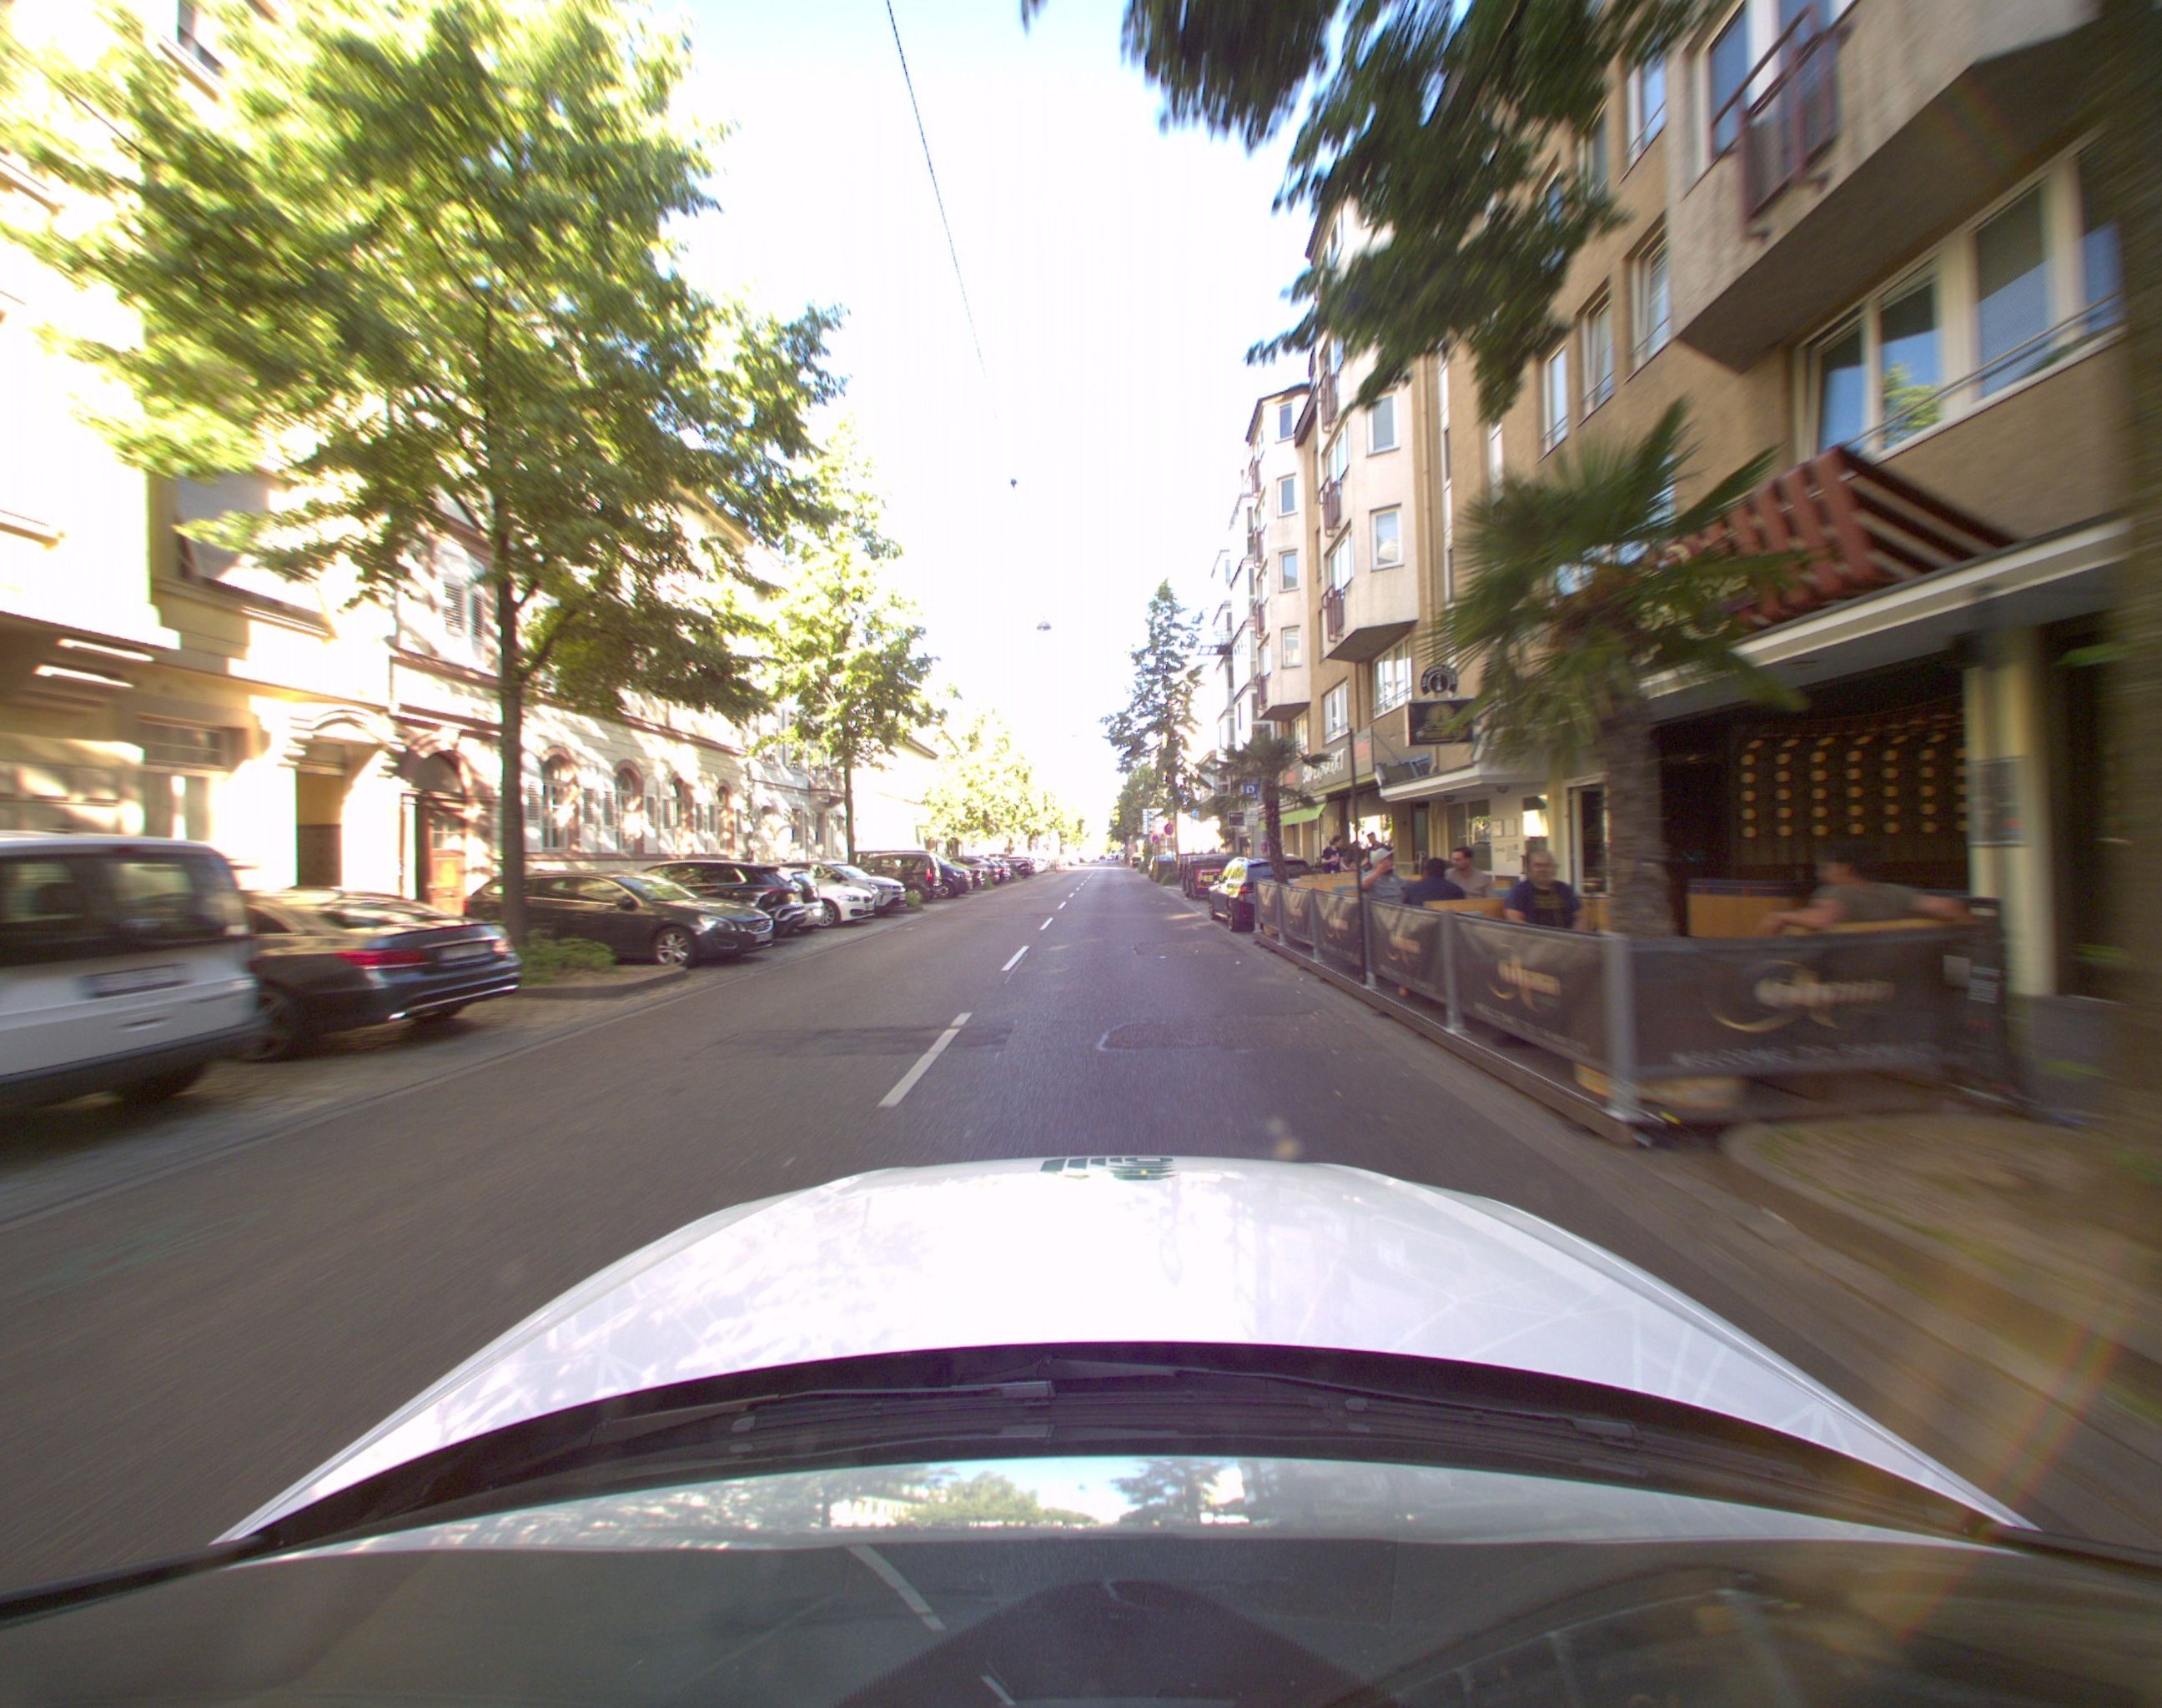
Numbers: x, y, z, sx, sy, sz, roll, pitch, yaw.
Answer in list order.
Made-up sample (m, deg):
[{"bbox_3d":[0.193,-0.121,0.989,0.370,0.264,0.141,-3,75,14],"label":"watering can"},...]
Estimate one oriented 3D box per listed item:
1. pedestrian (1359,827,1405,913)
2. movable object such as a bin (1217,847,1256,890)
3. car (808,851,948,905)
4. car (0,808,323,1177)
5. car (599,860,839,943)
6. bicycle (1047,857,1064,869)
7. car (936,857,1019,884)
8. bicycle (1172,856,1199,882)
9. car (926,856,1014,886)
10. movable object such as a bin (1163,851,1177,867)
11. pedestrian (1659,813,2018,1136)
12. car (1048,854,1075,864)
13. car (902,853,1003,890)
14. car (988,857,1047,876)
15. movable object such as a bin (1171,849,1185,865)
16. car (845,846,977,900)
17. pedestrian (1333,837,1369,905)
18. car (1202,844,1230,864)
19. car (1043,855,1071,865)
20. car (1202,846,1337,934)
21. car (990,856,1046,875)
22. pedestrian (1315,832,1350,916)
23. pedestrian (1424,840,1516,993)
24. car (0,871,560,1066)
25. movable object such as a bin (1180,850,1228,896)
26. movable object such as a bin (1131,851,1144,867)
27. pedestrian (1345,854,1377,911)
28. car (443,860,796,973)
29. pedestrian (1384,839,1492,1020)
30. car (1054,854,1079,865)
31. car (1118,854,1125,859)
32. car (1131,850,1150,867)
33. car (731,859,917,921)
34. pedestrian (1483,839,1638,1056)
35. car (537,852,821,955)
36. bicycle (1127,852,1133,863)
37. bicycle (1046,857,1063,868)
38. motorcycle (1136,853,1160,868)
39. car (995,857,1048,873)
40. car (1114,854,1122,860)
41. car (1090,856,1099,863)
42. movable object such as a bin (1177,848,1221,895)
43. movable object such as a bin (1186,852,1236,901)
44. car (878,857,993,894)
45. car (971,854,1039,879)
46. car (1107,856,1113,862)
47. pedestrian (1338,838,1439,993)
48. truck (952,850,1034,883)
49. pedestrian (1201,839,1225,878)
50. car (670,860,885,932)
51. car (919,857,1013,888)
[{"bbox_3d":[6.080,0.321,16.463,0.506,1.695,0.623,-2,-1,-35],"label":"pedestrian"},{"bbox_3d":[5.380,0.489,28.284,1.073,1.431,1.296,-2,0,2],"label":"movable object such as a bin"},{"bbox_3d":[-7.207,0.832,29.208,4.447,1.772,1.918,-1,0,3],"label":"car"},{"bbox_3d":[-7.601,0.745,4.767,4.331,1.834,1.914,-1,0,-4],"label":"car"},{"bbox_3d":[-7.721,0.981,17.641,4.323,1.582,1.809,-1,0,1],"label":"car"},{"bbox_3d":[-2.871,1.034,92.810,1.852,1.252,0.599,-1,0,-6],"label":"bicycle"},{"bbox_3d":[-6.197,0.963,49.004,4.661,1.463,1.809,-1,0,3],"label":"car"},{"bbox_3d":[4.920,0.713,38.504,0.607,1.120,2.051,-9,1,-7],"label":"bicycle"},{"bbox_3d":[-6.268,0.957,46.475,4.661,1.572,1.809,-1,0,3],"label":"car"},{"bbox_3d":[9.163,0.534,83.866,1.201,1.627,1.498,-3,0,0],"label":"movable object such as a bin"},{"bbox_3d":[3.979,0.594,4.398,1.051,1.536,0.893,-2,0,6],"label":"pedestrian"},{"bbox_3d":[-2.931,0.787,124.773,3.973,1.390,2.000,-2,0,0],"label":"car"},{"bbox_3d":[-6.408,0.878,40.855,4.661,1.712,1.809,-1,0,3],"label":"car"},{"bbox_3d":[-5.221,1.021,67.249,4.667,1.465,1.807,-1,0,-2],"label":"car"},{"bbox_3d":[9.810,0.332,82.484,1.266,1.530,1.176,-3,0,0],"label":"movable object such as a bin"},{"bbox_3d":[-6.636,0.748,32.128,4.661,1.950,1.918,-1,0,3],"label":"car"},{"bbox_3d":[6.744,0.422,20.368,0.614,1.642,0.762,-2,0,2],"label":"pedestrian"},{"bbox_3d":[11.809,-0.007,71.568,1.893,1.648,4.297,-3,0,3],"label":"car"},{"bbox_3d":[-3.459,0.866,118.993,3.973,1.390,2.000,-2,0,0],"label":"car"},{"bbox_3d":[3.830,0.656,17.421,1.815,1.472,4.914,-4,0,2],"label":"car"},{"bbox_3d":[-5.351,0.973,70.004,4.667,1.465,1.807,-1,0,-2],"label":"car"},{"bbox_3d":[5.268,0.415,17.081,0.612,1.695,0.765,-3,0,17],"label":"pedestrian"},{"bbox_3d":[4.096,0.641,8.630,0.706,1.536,0.773,-3,0,16],"label":"pedestrian"},{"bbox_3d":[-7.592,0.952,7.478,4.325,1.439,1.916,-1,0,0],"label":"car"},{"bbox_3d":[4.088,0.621,27.145,1.393,1.454,1.146,-2,0,2],"label":"movable object such as a bin"},{"bbox_3d":[5.991,0.541,86.509,1.135,1.562,1.463,-3,0,10],"label":"movable object such as a bin"},{"bbox_3d":[5.863,0.599,17.054,0.438,1.163,0.504,-3,-1,39],"label":"pedestrian"},{"bbox_3d":[-7.089,0.925,12.822,4.446,1.541,1.918,-1,0,3],"label":"car"},{"bbox_3d":[3.202,0.649,7.379,0.743,1.536,0.811,-3,0,16],"label":"pedestrian"},{"bbox_3d":[-2.437,0.935,137.683,3.966,1.694,2.004,-2,0,6],"label":"car"},{"bbox_3d":[11.140,0.679,223.689,1.986,1.508,4.001,-1,-1,1],"label":"car"},{"bbox_3d":[6.615,0.476,90.756,1.815,1.679,4.603,-4,0,2],"label":"car"},{"bbox_3d":[-7.033,0.969,22.531,4.445,1.541,1.919,-1,0,5],"label":"car"},{"bbox_3d":[3.643,0.671,6.250,0.690,1.536,0.777,-2,0,3],"label":"pedestrian"},{"bbox_3d":[-7.404,0.882,15.315,4.323,1.709,1.917,-1,0,1],"label":"car"},{"bbox_3d":[7.398,0.523,122.666,0.558,1.441,1.629,-8,0,2],"label":"bicycle"},{"bbox_3d":[-3.047,1.015,93.829,1.852,1.252,0.599,-1,0,-6],"label":"bicycle"},{"bbox_3d":[6.249,0.608,76.160,1.978,1.330,0.908,-2,0,-11],"label":"motorcycle"},{"bbox_3d":[-5.460,1.014,75.216,4.667,1.412,1.807,-1,0,-2],"label":"car"},{"bbox_3d":[9.975,0.772,219.323,1.816,1.391,4.301,-4,0,1],"label":"car"},{"bbox_3d":[2.945,1.138,173.612,1.796,1.435,4.410,-4,0,1],"label":"car"},{"bbox_3d":[4.080,0.587,28.310,1.325,1.542,1.146,-2,0,2],"label":"movable object such as a bin"},{"bbox_3d":[4.120,0.700,25.980,1.393,1.454,1.146,-2,0,2],"label":"movable object such as a bin"},{"bbox_3d":[-6.248,0.924,35.353,4.628,1.459,1.684,-1,0,1],"label":"car"},{"bbox_3d":[-5.500,0.874,59.345,4.661,1.693,1.809,-1,0,3],"label":"car"},{"bbox_3d":[7.841,1.262,220.549,1.786,1.411,4.002,-2,0,2],"label":"car"},{"bbox_3d":[3.251,0.619,8.678,0.648,1.536,0.980,-2,0,0],"label":"pedestrian"},{"bbox_3d":[-5.782,0.790,53.962,5.067,1.938,2.000,-3,0,1],"label":"truck"},{"bbox_3d":[6.731,0.245,41.505,0.916,1.935,0.765,-2,0,27],"label":"pedestrian"},{"bbox_3d":[-7.255,0.980,19.786,4.450,1.541,1.917,-1,0,1],"label":"car"},{"bbox_3d":[-6.112,0.958,43.664,4.661,1.519,1.809,-1,0,3],"label":"car"}]
